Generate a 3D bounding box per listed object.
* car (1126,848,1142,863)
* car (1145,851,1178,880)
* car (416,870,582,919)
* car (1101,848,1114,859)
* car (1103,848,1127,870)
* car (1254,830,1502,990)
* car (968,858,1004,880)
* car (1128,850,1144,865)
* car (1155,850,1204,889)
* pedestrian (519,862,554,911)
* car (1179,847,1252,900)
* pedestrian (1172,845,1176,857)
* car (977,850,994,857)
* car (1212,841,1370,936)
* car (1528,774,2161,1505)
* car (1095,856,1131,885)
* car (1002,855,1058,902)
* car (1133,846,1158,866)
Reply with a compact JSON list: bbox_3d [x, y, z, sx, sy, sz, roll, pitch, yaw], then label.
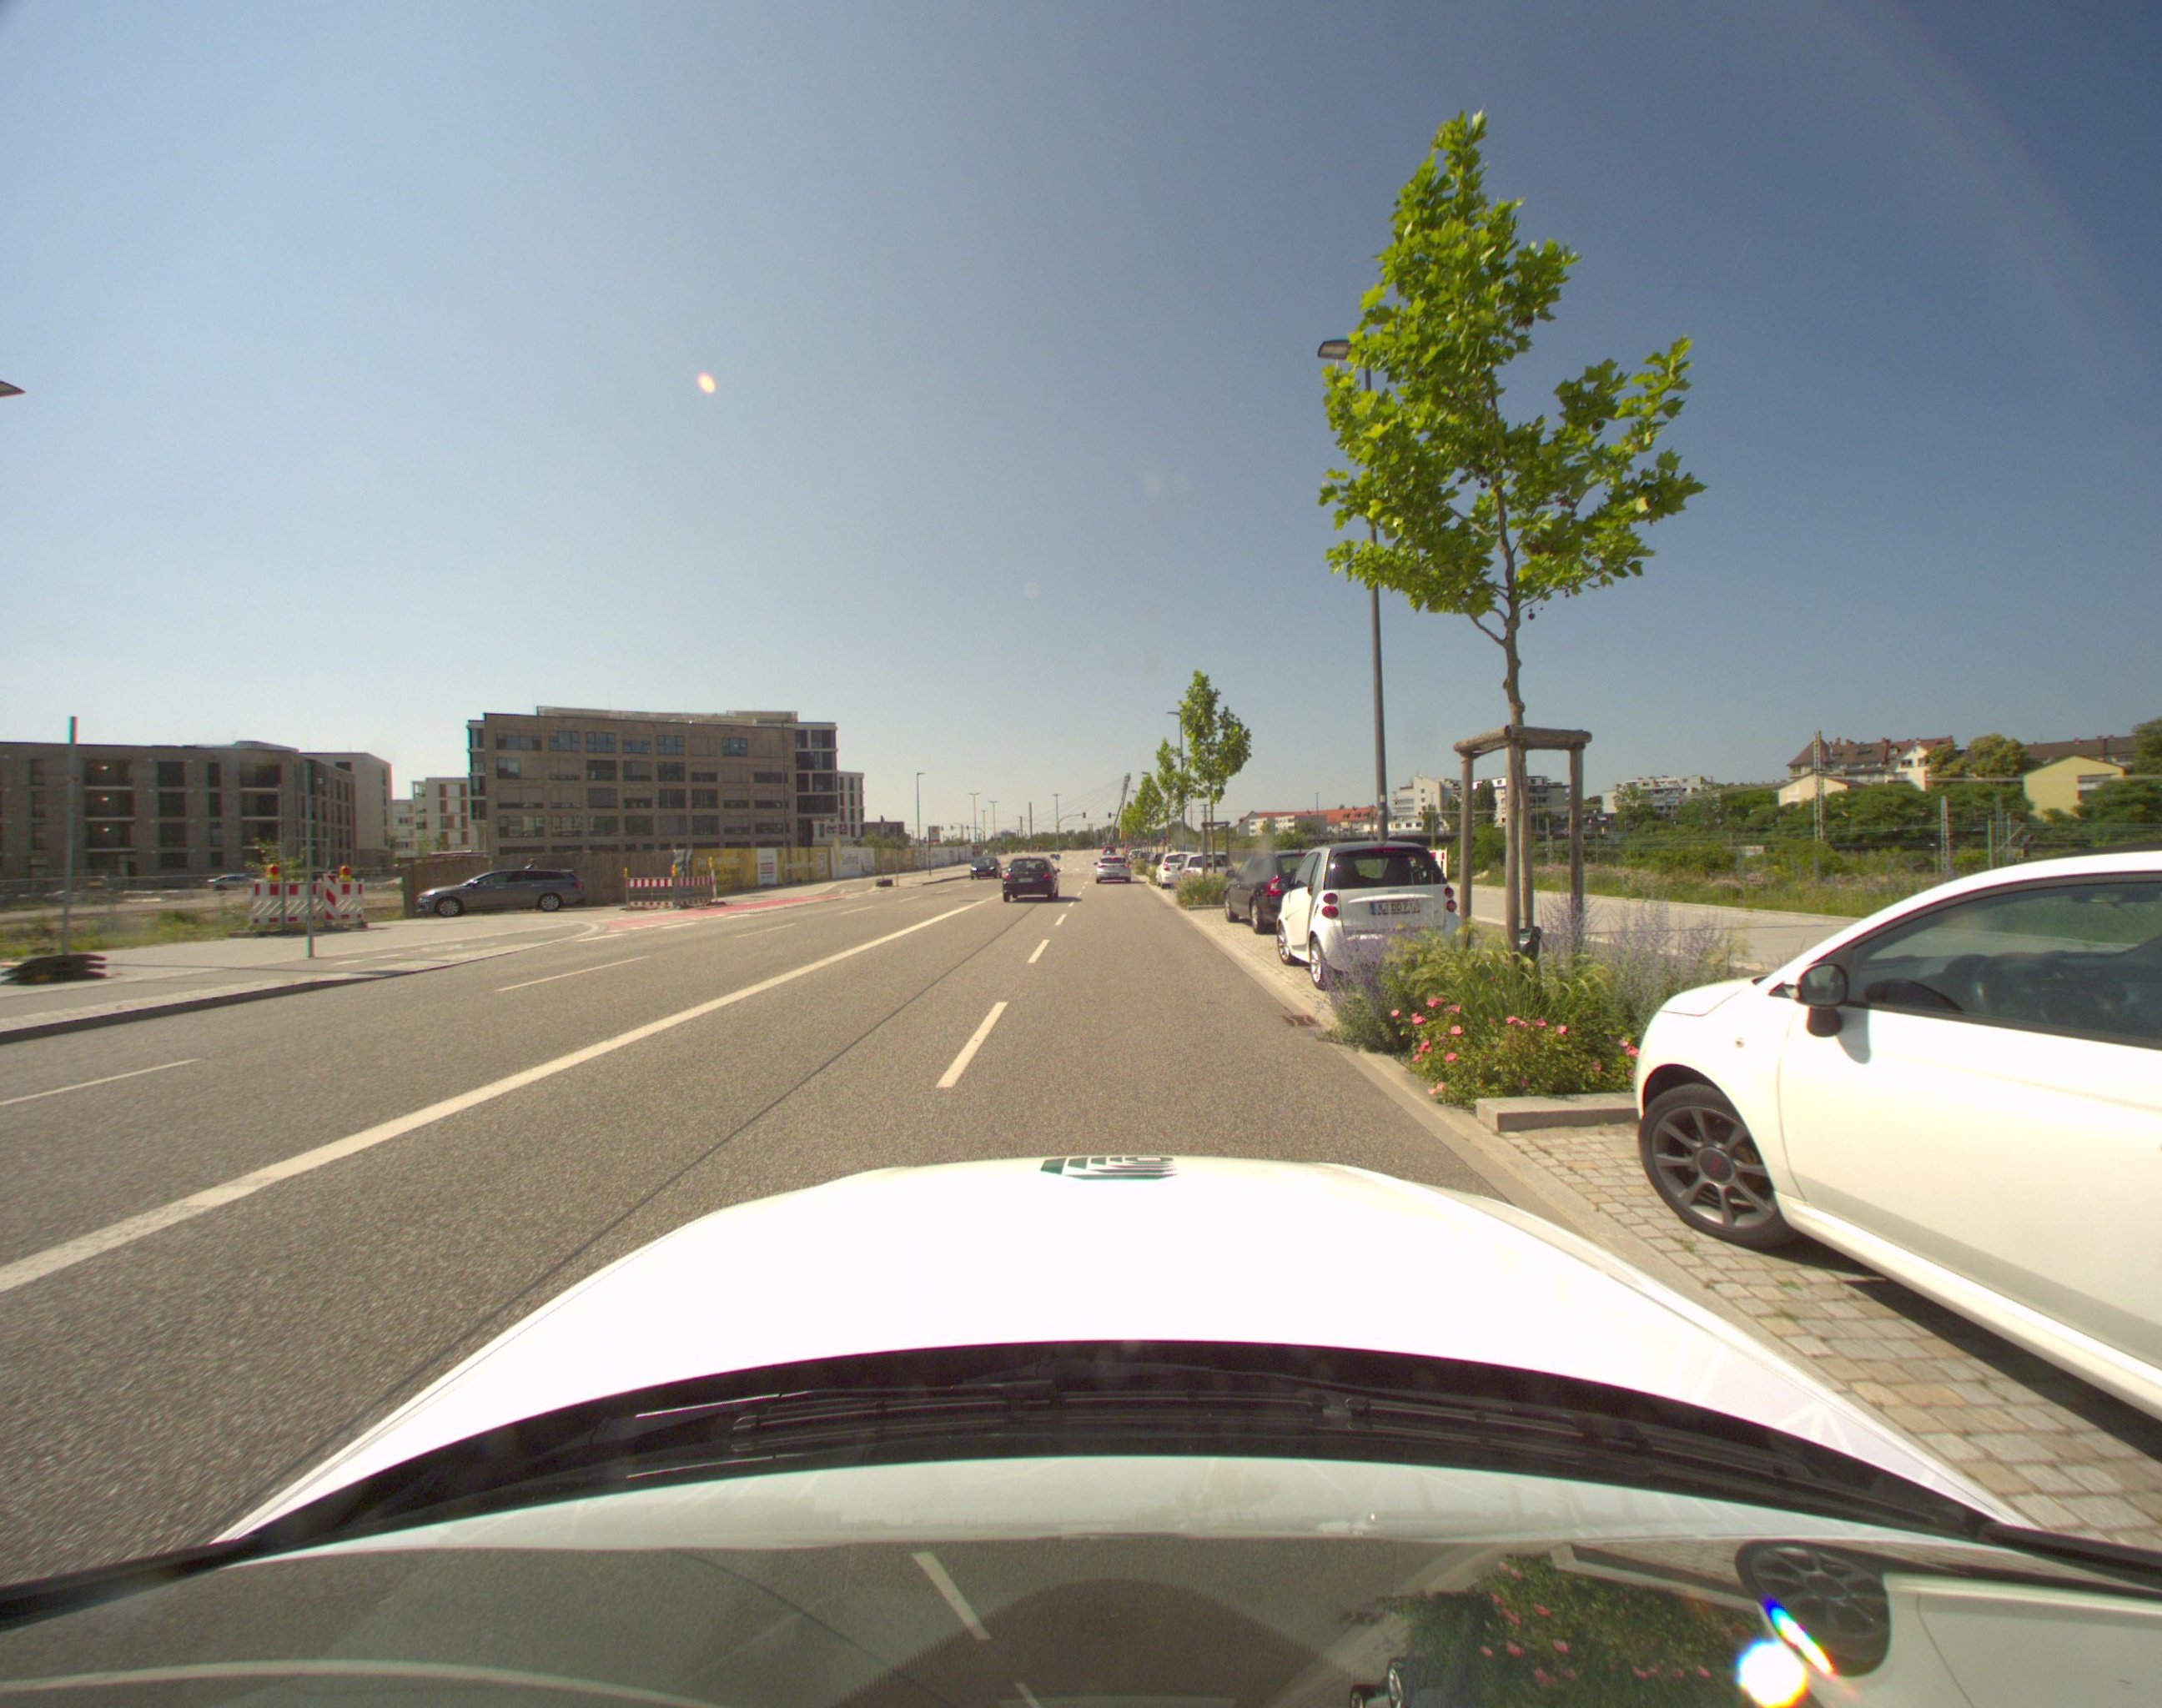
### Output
[{"bbox_3d":[6.474,0.200,99.084,1.814,1.616,3.614,-3,1,3],"label":"car"},{"bbox_3d":[4.472,0.617,45.813,1.696,1.462,4.089,-2,0,4],"label":"car"},{"bbox_3d":[-18.921,1.266,26.736,4.264,1.318,1.979,-2,0,-34],"label":"car"},{"bbox_3d":[3.805,-0.088,115.914,1.771,1.568,4.003,-2,1,2],"label":"car"},{"bbox_3d":[2.634,0.392,63.297,1.771,1.568,4.002,-2,0,2],"label":"car"},{"bbox_3d":[3.448,0.567,10.355,1.899,1.577,4.163,-2,0,5],"label":"car"},{"bbox_3d":[-6.154,0.943,53.257,1.697,1.352,4.458,-2,0,2],"label":"car"},{"bbox_3d":[6.249,0.367,92.424,1.690,1.475,4.208,-3,0,3],"label":"car"},{"bbox_3d":[4.120,0.628,34.590,1.739,1.509,4.003,-2,-1,2],"label":"car"},{"bbox_3d":[-18.956,1.128,28.365,0.679,1.684,0.760,-1,-1,24],"label":"pedestrian"},{"bbox_3d":[4.133,0.561,25.599,1.899,1.479,4.163,-2,0,5],"label":"car"},{"bbox_3d":[12.398,-0.433,108.920,0.531,1.575,0.524,0,-1,2],"label":"pedestrian"},{"bbox_3d":[-22.939,-0.051,195.686,3.948,1.649,1.872,0,0,36],"label":"car"},{"bbox_3d":[3.881,0.615,15.847,1.784,1.477,4.369,-3,-1,-2],"label":"car"},{"bbox_3d":[3.088,0.564,2.242,1.711,1.524,3.643,-3,-2,2],"label":"car"},{"bbox_3d":[1.666,0.815,42.391,1.771,1.442,4.003,0,0,3],"label":"car"},{"bbox_3d":[-1.639,0.763,27.214,1.614,1.416,3.726,-2,0,0],"label":"car"},{"bbox_3d":[5.347,0.177,67.440,1.699,1.463,3.953,-3,-1,0],"label":"car"}]
